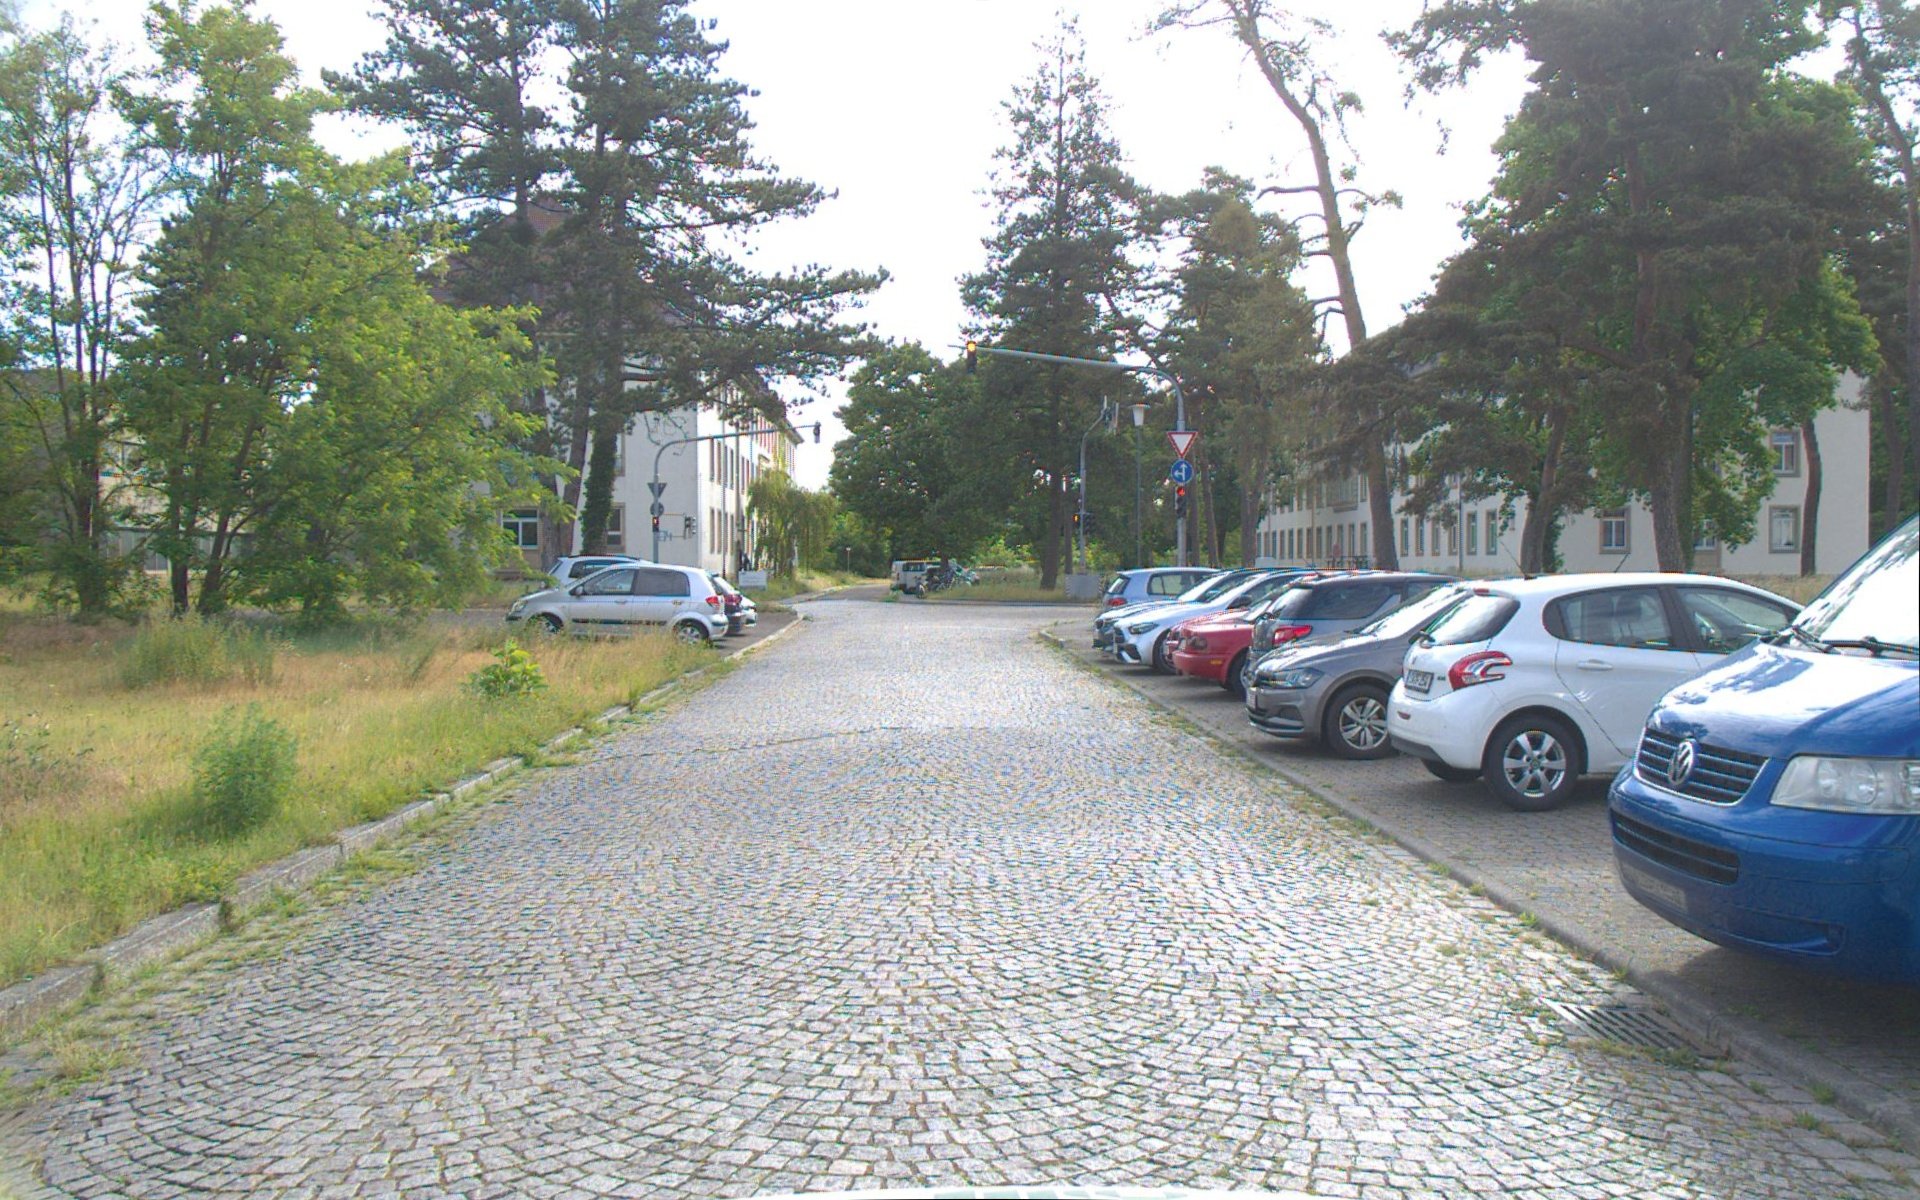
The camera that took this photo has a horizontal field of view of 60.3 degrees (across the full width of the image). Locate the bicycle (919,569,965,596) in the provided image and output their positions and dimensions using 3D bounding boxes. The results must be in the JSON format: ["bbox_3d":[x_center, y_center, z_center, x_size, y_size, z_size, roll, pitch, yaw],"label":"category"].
[{"bbox_3d":[-0.883,-0.866,80.463,2.120,1.290,0.811,0,1,-9],"label":"bicycle"}]

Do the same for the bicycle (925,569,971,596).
[{"bbox_3d":[-0.590,-0.846,78.673,2.120,1.290,0.811,0,1,-9],"label":"bicycle"}]

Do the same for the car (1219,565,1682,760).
[{"bbox_3d":[4.213,0.473,14.401,3.535,1.533,1.659,-1,1,-13],"label":"car"}]

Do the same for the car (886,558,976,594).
[{"bbox_3d":[-1.717,-1.418,96.456,4.962,2.048,1.994,0,1,-13],"label":"car"}]

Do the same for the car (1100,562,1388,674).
[{"bbox_3d":[4.153,0.229,24.472,3.912,1.570,1.661,0,1,-8],"label":"car"}]

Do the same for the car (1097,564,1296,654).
[{"bbox_3d":[4.238,0.136,29.864,3.325,1.570,1.389,0,1,-8],"label":"car"}]

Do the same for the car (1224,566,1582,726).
[{"bbox_3d":[4.584,0.425,17.294,3.235,1.530,1.659,-1,1,-13],"label":"car"}]

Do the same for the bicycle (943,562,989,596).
[{"bbox_3d":[0.277,-1.018,80.001,2.120,1.644,0.811,0,1,-9],"label":"bicycle"}]

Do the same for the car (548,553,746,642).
[{"bbox_3d":[-6.428,-0.069,34.228,3.913,1.780,1.923,0,1,-9],"label":"car"}]

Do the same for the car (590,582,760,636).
[{"bbox_3d":[-6.225,0.183,36.421,3.602,1.113,1.643,0,1,-8],"label":"car"}]

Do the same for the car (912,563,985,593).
[{"bbox_3d":[-0.667,-1.237,93.219,3.912,1.673,1.997,0,1,-8],"label":"car"}]

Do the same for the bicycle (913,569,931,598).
[{"bbox_3d":[-1.699,-0.735,74.871,0.793,1.290,1.973,0,1,-1],"label":"bicycle"}]

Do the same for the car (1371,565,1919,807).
[{"bbox_3d":[4.672,0.529,11.399,3.227,1.531,1.663,0,1,-4],"label":"car"}]

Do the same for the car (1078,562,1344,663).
[{"bbox_3d":[4.097,0.172,27.288,4.045,1.570,1.661,0,1,-8],"label":"car"}]

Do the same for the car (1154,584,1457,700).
[{"bbox_3d":[4.124,0.468,19.994,3.230,1.289,1.661,0,1,-8],"label":"car"}]

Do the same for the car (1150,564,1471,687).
[{"bbox_3d":[4.662,0.309,22.261,3.912,1.570,1.661,0,1,-8],"label":"car"}]

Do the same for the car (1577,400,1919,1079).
[{"bbox_3d":[4.914,0.402,6.049,4.687,2.075,1.737,0,1,-3],"label":"car"}]

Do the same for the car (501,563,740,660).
[{"bbox_3d":[-5.794,0.166,28.675,3.912,1.579,1.997,0,1,-8],"label":"car"}]

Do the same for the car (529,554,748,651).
[{"bbox_3d":[-5.975,0.014,31.160,3.912,1.735,1.997,0,1,-8],"label":"car"}]

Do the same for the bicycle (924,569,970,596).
[{"bbox_3d":[-0.612,-0.851,79.260,2.120,1.290,0.811,0,1,-9],"label":"bicycle"}]
